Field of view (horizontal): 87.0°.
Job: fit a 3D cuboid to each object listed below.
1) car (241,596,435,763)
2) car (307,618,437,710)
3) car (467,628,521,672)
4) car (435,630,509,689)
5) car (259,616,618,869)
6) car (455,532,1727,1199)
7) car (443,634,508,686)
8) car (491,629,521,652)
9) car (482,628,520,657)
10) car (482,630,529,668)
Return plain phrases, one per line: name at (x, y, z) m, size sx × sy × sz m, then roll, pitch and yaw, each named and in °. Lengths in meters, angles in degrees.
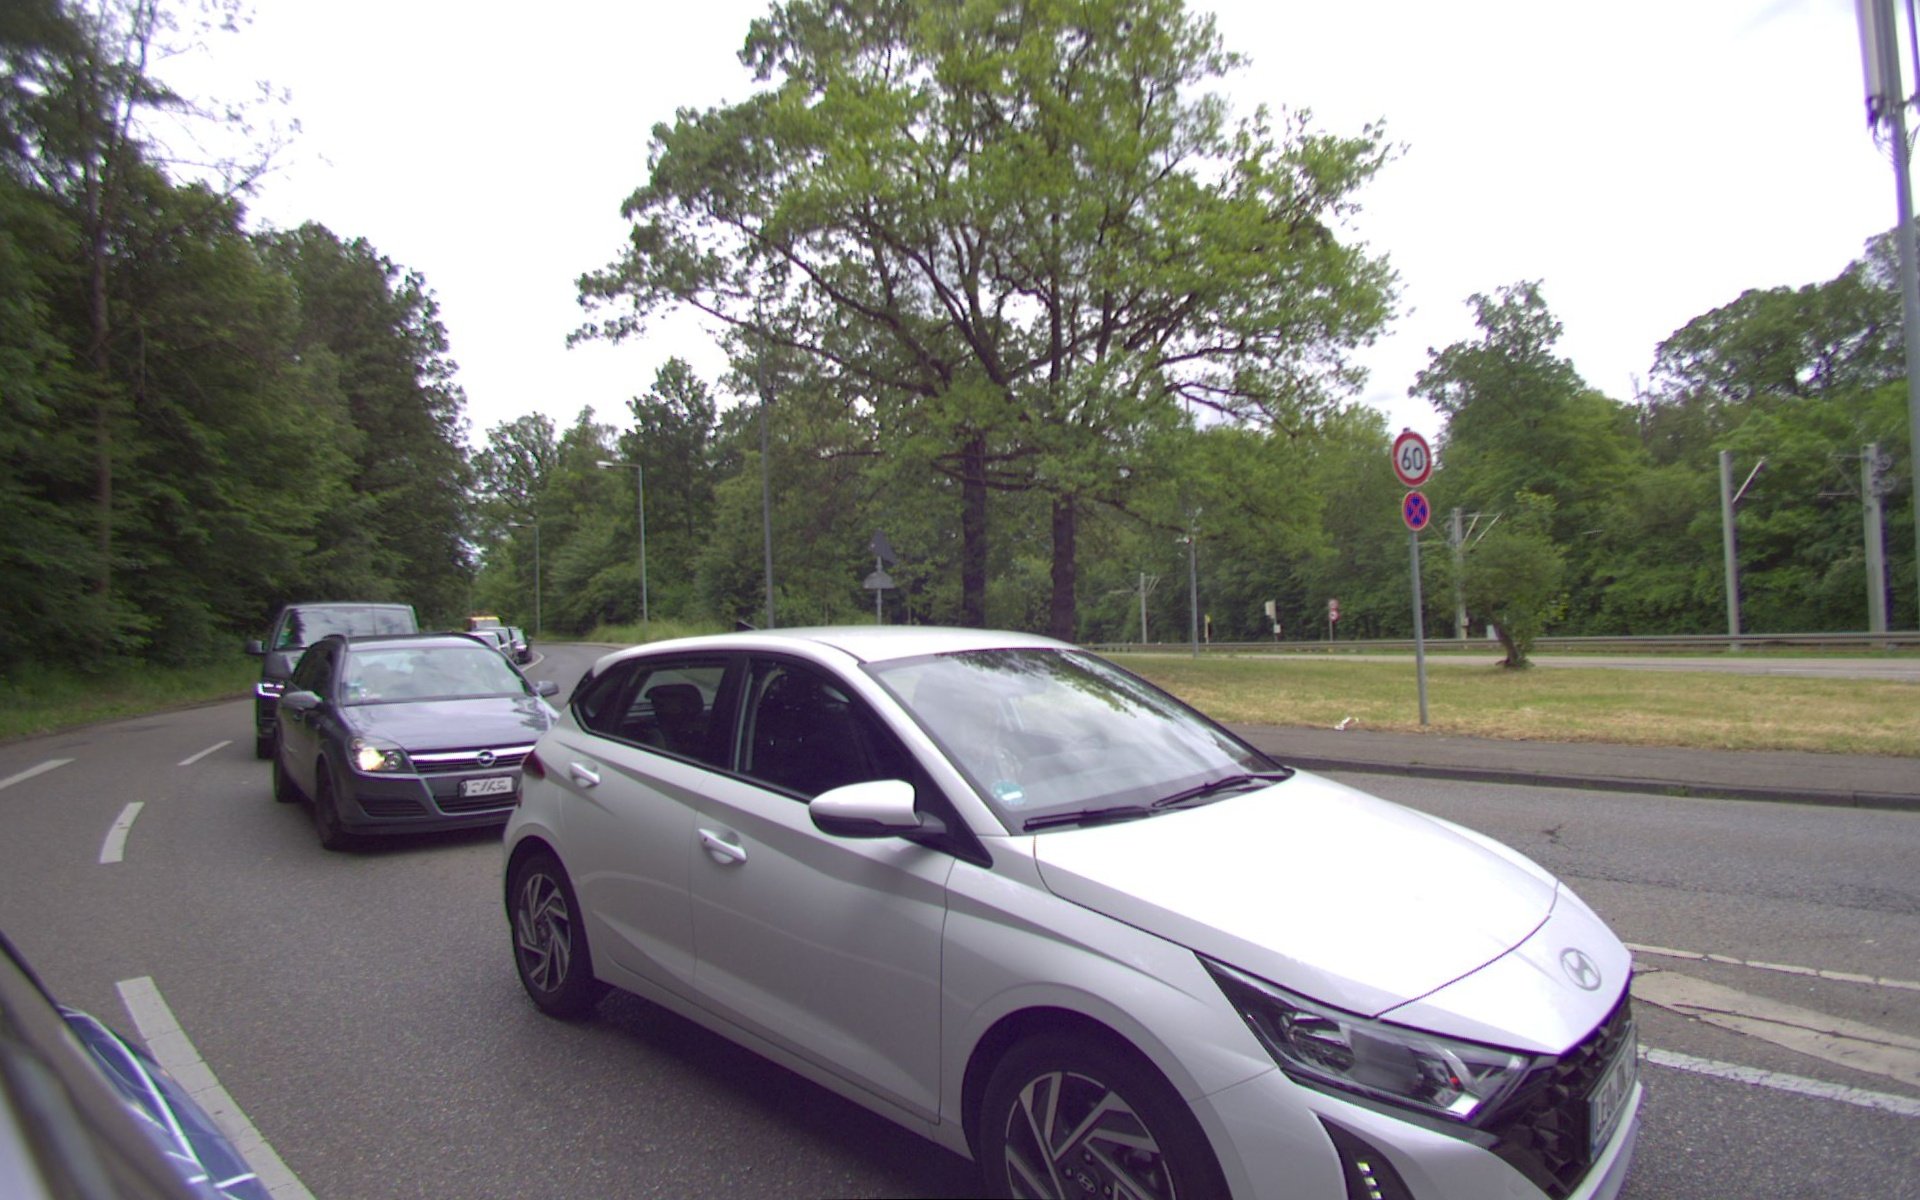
car at (-8.411, 0.982, 13.958) m, size 1.957 × 1.887 × 4.545 m, roll 0°, pitch -2°, yaw -29°
car at (-12.323, 1.287, 21.464) m, size 1.763 × 1.686 × 4.003 m, roll -1°, pitch -1°, yaw -21°
car at (-17.472, 1.843, 37.941) m, size 1.748 × 1.511 × 3.885 m, roll 0°, pitch -2°, yaw -25°
car at (-13.669, 1.628, 28.419) m, size 1.748 × 1.511 × 3.885 m, roll 0°, pitch -2°, yaw -25°
car at (-4.522, 0.941, 8.357) m, size 1.775 × 1.490 × 4.478 m, roll 0°, pitch -2°, yaw -39°
car at (-0.071, 0.725, 3.427) m, size 4.073 × 1.490 × 1.631 m, roll -3°, pitch -2°, yaw 43°
car at (-15.391, 1.856, 32.234) m, size 1.748 × 1.511 × 3.885 m, roll 0°, pitch -2°, yaw -25°
car at (-31.825, 2.857, 70.988) m, size 1.749 × 1.511 × 3.885 m, roll -1°, pitch -2°, yaw -22°
car at (-25.292, 2.350, 55.820) m, size 1.749 × 1.511 × 3.885 m, roll -1°, pitch -2°, yaw -22°
car at (-19.385, 2.065, 43.140) m, size 1.748 × 1.511 × 3.885 m, roll 0°, pitch -2°, yaw -25°
